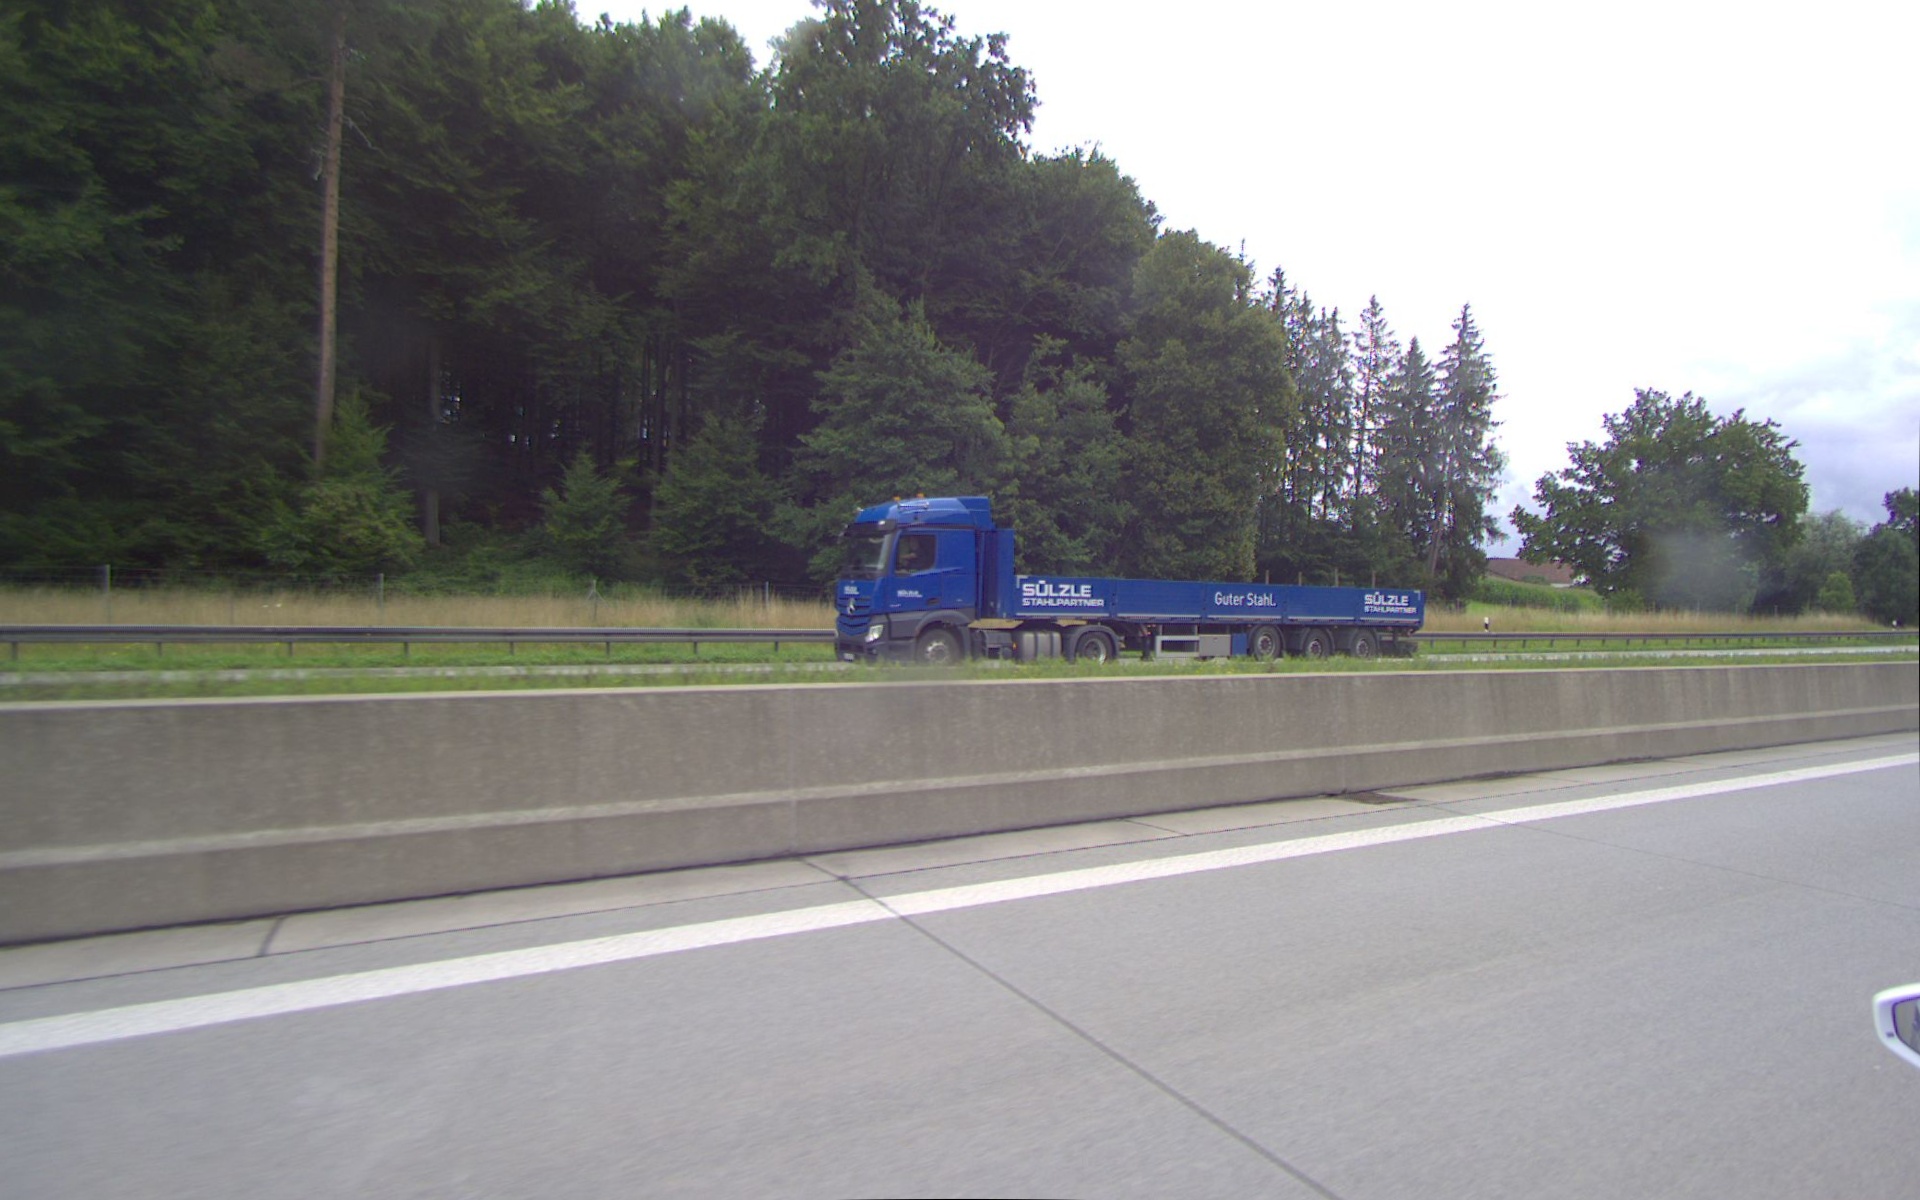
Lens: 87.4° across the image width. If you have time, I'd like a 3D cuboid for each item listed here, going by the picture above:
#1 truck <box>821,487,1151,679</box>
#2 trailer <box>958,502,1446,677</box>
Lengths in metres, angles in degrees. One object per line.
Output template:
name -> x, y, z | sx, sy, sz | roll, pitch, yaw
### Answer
truck -> 0.628, -0.243, 21.541 | 6.563, 3.563, 2.743 | 2, 0, -30
trailer -> 6.590, -0.048, 25.069 | 13.723, 3.554, 2.772 | 2, 0, -31
